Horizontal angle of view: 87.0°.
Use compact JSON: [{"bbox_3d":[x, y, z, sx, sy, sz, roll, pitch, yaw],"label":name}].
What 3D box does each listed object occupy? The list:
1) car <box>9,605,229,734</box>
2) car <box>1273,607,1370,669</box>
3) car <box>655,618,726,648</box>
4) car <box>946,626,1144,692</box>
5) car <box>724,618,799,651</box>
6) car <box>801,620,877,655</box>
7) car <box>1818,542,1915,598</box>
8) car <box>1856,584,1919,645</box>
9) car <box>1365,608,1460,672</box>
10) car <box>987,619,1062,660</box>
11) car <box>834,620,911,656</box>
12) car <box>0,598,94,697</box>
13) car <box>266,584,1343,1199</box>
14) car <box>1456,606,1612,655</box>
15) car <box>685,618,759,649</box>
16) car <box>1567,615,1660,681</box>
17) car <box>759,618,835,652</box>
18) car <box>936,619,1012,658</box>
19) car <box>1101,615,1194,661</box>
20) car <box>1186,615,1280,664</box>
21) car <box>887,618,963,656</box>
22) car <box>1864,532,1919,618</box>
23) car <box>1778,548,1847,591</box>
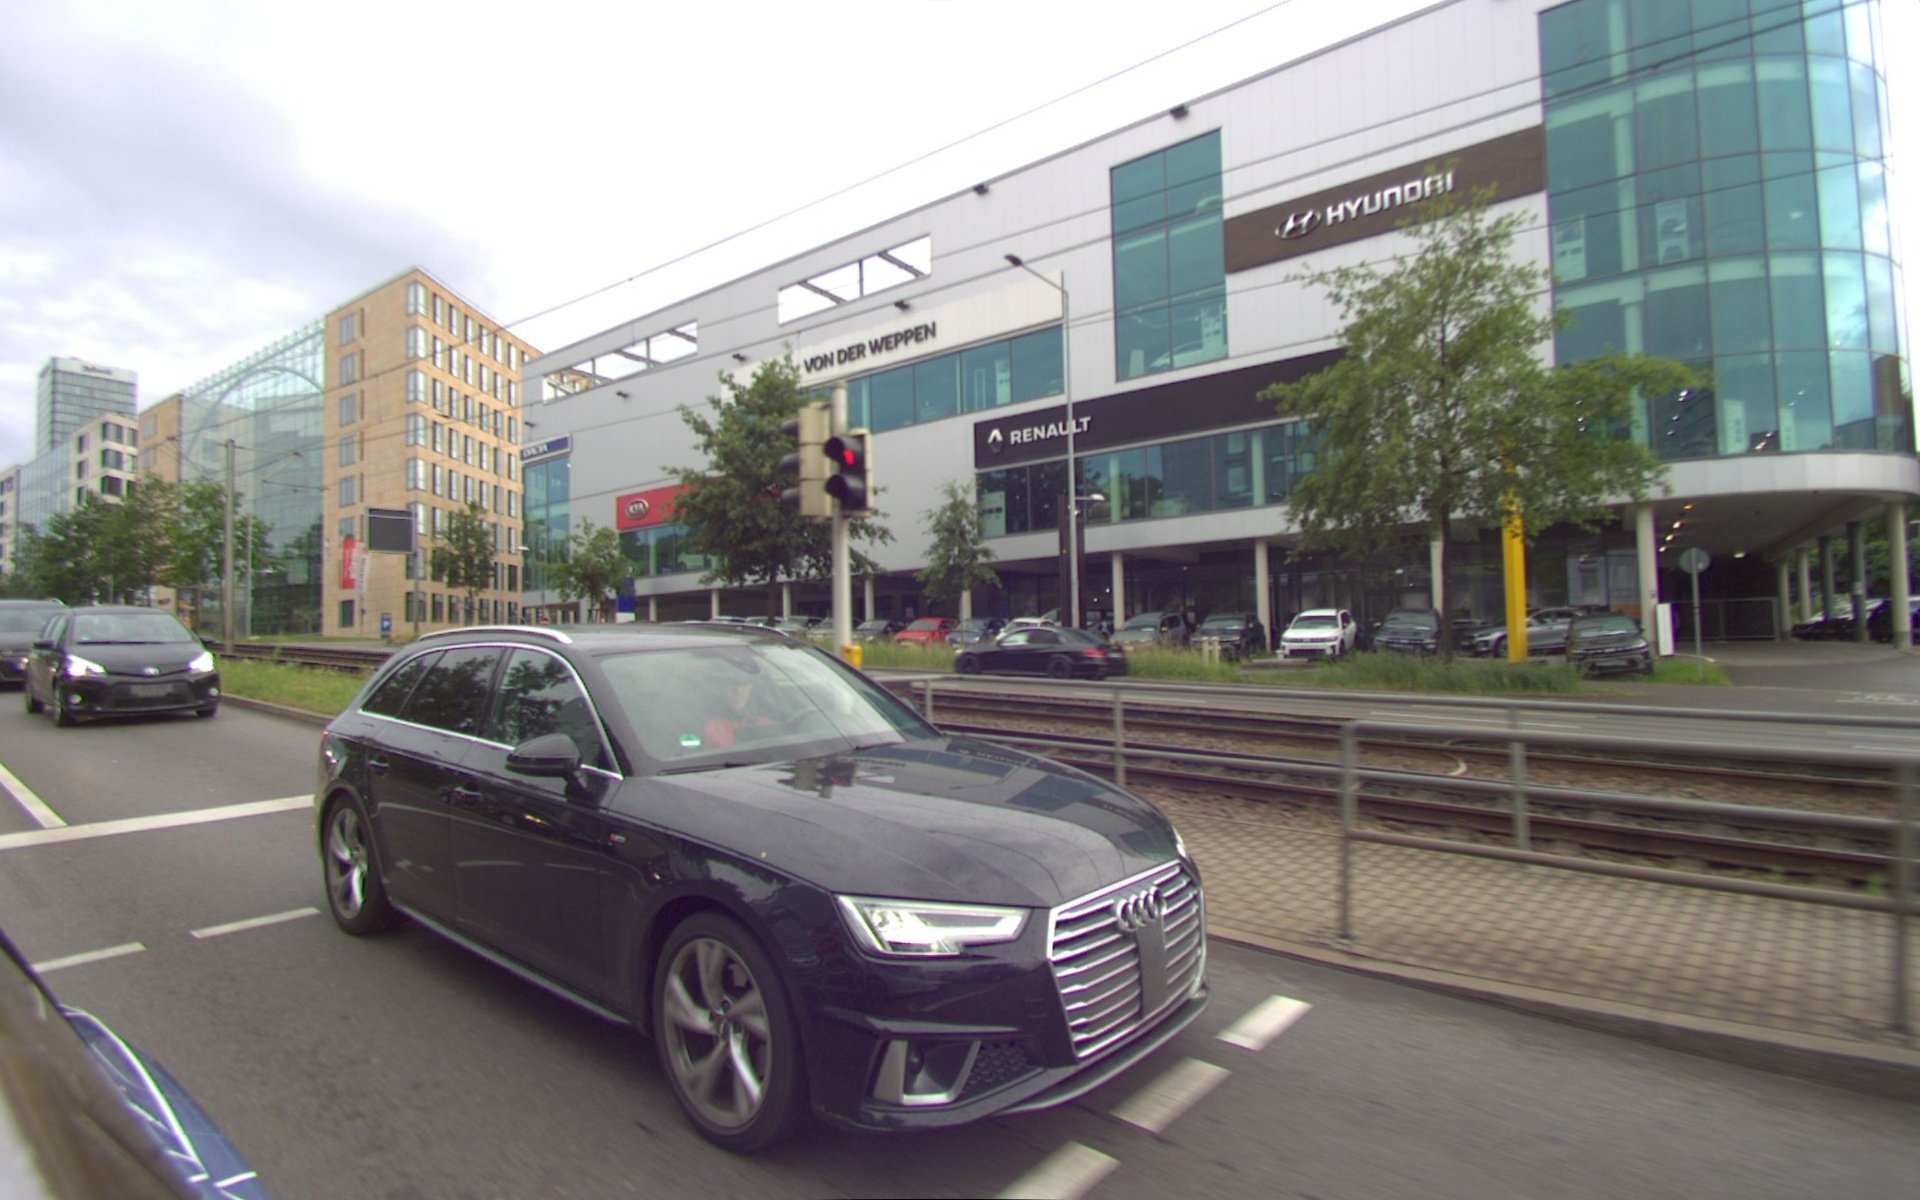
[{"bbox_3d":[-11.644,0.862,13.927,3.999,1.513,1.775,-2,-1,42],"label":"car"},{"bbox_3d":[11.384,1.149,31.746,1.917,1.674,3.954,-1,1,34],"label":"car"},{"bbox_3d":[-14.030,1.702,52.797,1.809,1.502,3.819,-1,-1,18],"label":"car"},{"bbox_3d":[2.108,1.447,26.018,4.871,1.447,1.973,-1,0,41],"label":"car"},{"bbox_3d":[-9.681,1.662,49.663,1.812,1.502,3.813,-1,-1,23],"label":"car"},{"bbox_3d":[-5.453,1.664,46.107,1.812,1.502,3.813,-1,-1,23],"label":"car"},{"bbox_3d":[43.126,-1.367,48.314,2.741,2.513,5.420,-1,0,35],"label":"car"},{"bbox_3d":[32.331,0.453,34.317,2.274,1.940,5.420,-1,0,35],"label":"car"},{"bbox_3d":[13.516,1.131,30.137,1.917,1.674,3.954,-1,0,34],"label":"car"},{"bbox_3d":[2.571,1.513,39.506,1.812,1.502,3.813,-1,-1,23],"label":"car"},{"bbox_3d":[-3.771,1.638,44.367,1.812,1.502,3.813,-1,-1,23],"label":"car"},{"bbox_3d":[-17.642,0.848,18.834,4.129,1.693,1.758,-1,-1,41],"label":"car"},{"bbox_3d":[-1.146,0.742,4.231,4.826,1.445,1.771,-1,-1,41],"label":"car"},{"bbox_3d":[18.375,0.980,32.543,3.946,1.480,1.770,-1,-1,2],"label":"car"},{"bbox_3d":[-11.995,1.678,51.189,1.812,1.502,3.813,-1,-1,23],"label":"car"},{"bbox_3d":[17.113,1.197,26.567,1.891,1.519,3.956,-1,0,33],"label":"car"},{"bbox_3d":[-7.667,1.634,47.887,1.812,1.502,3.813,-1,-1,23],"label":"car"},{"bbox_3d":[0.617,1.528,41.210,1.812,1.502,3.813,-1,-1,23],"label":"car"},{"bbox_3d":[6.692,1.301,35.801,1.819,1.502,3.954,-1,-1,34],"label":"car"},{"bbox_3d":[9.063,1.272,33.443,1.819,1.502,3.954,-1,-1,34],"label":"car"},{"bbox_3d":[-1.430,1.544,42.598,1.812,1.502,3.813,-1,-1,23],"label":"car"},{"bbox_3d":[38.831,-0.988,40.697,2.994,3.296,5.420,-1,0,35],"label":"car"},{"bbox_3d":[53.350,-1.832,63.436,2.741,2.513,5.420,-1,0,35],"label":"car"}]
